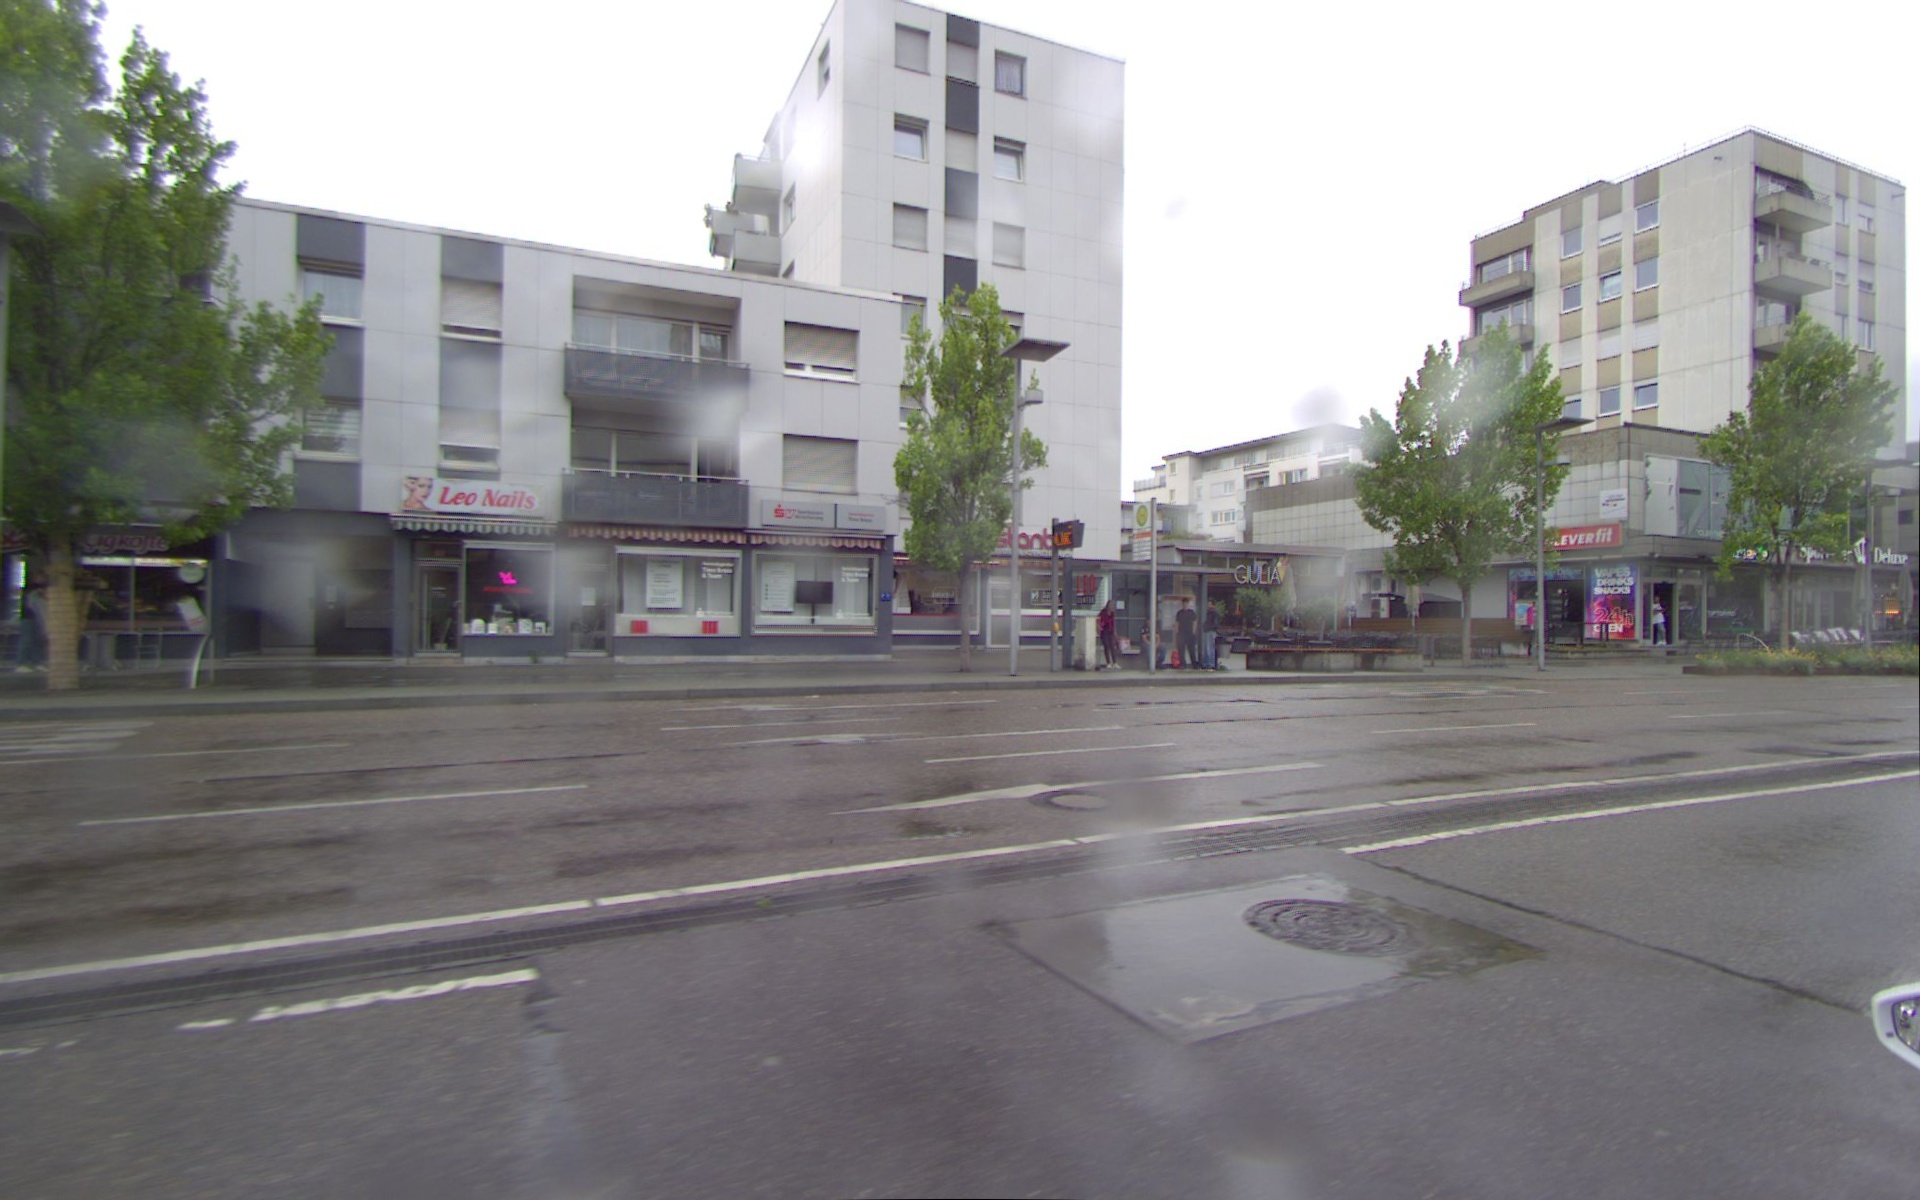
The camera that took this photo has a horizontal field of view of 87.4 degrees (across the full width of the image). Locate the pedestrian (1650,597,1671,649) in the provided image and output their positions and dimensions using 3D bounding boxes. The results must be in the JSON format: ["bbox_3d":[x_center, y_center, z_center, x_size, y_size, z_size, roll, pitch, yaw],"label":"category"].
[{"bbox_3d":[25.612,0.832,36.724,0.493,1.873,0.426,0,0,-14],"label":"pedestrian"}]

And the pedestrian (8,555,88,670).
[{"bbox_3d":[-16.642,0.226,18.355,0.851,2.040,0.757,0,0,-21],"label":"pedestrian"}]

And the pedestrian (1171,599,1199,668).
[{"bbox_3d":[5.564,0.810,24.800,0.472,1.681,0.534,0,0,-18],"label":"pedestrian"}]

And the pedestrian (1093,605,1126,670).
[{"bbox_3d":[3.594,0.889,24.088,0.529,1.525,0.612,0,-1,43],"label":"pedestrian"}]

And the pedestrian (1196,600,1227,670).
[{"bbox_3d":[6.078,0.845,24.278,0.529,1.681,0.477,0,0,-23],"label":"pedestrian"}]

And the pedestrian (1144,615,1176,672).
[{"bbox_3d":[4.879,1.065,24.536,0.569,1.370,0.534,0,0,-18],"label":"pedestrian"}]
